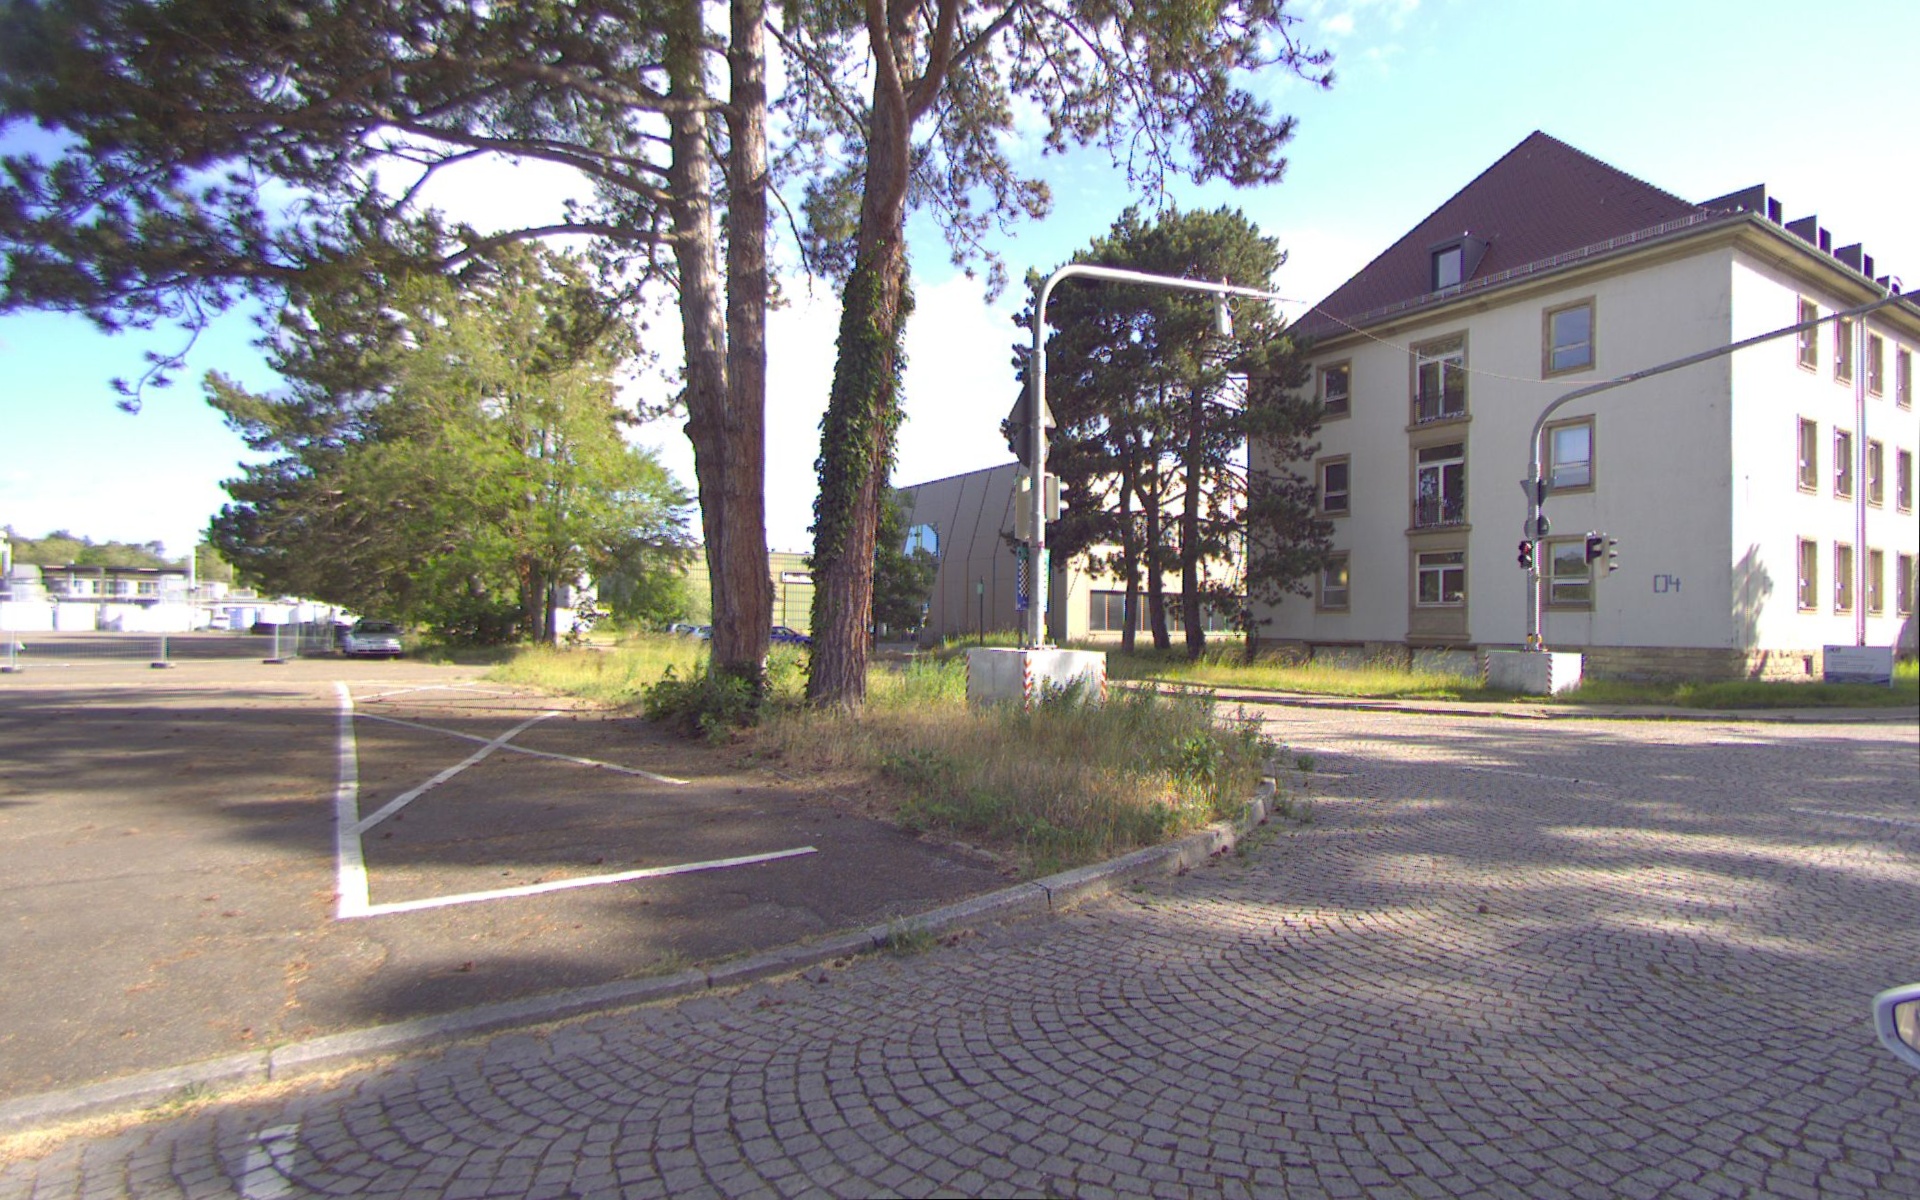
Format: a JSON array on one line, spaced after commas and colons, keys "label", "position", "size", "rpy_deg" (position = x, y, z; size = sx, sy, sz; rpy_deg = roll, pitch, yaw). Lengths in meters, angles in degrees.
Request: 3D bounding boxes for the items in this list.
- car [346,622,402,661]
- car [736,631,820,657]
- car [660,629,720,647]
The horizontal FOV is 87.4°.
[{"label": "car", "position": [-21.915, 1.521, 37.607], "size": [1.727, 1.388, 3.593], "rpy_deg": [1, -2, -30]}, {"label": "car", "position": [-9.414, 2.267, 52.059], "size": [4.004, 1.311, 1.480], "rpy_deg": [1, -2, -31]}, {"label": "car", "position": [-17.802, 2.512, 66.307], "size": [3.635, 1.090, 1.399], "rpy_deg": [1, -2, -30]}]
